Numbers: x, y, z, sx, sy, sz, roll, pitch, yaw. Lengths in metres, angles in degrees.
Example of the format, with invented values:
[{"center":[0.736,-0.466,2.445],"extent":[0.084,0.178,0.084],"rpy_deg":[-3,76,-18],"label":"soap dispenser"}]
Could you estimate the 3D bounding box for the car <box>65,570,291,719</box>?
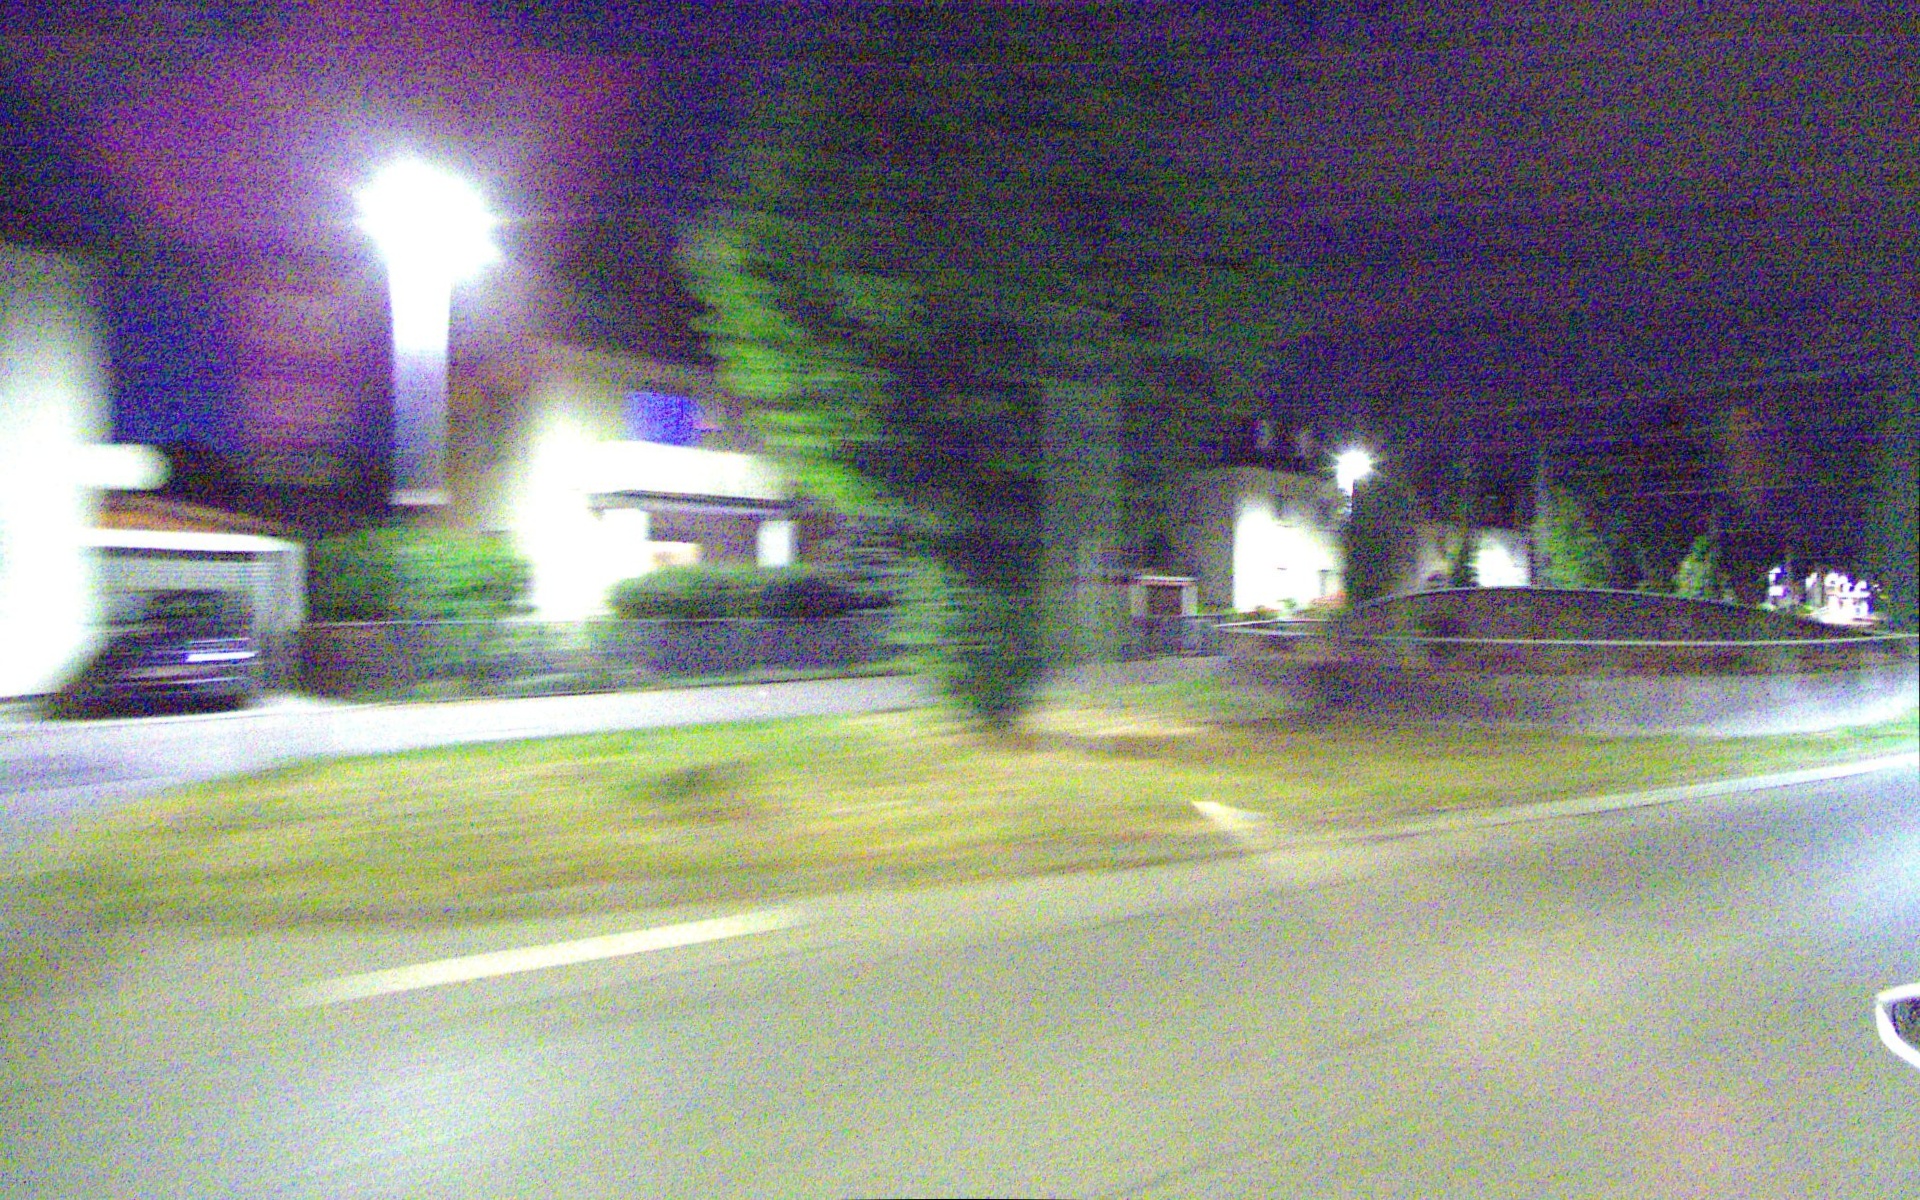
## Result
[{"center":[-10.038,0.494,13.197],"extent":[1.761,1.649,3.696],"rpy_deg":[0,0,-29],"label":"car"}]
